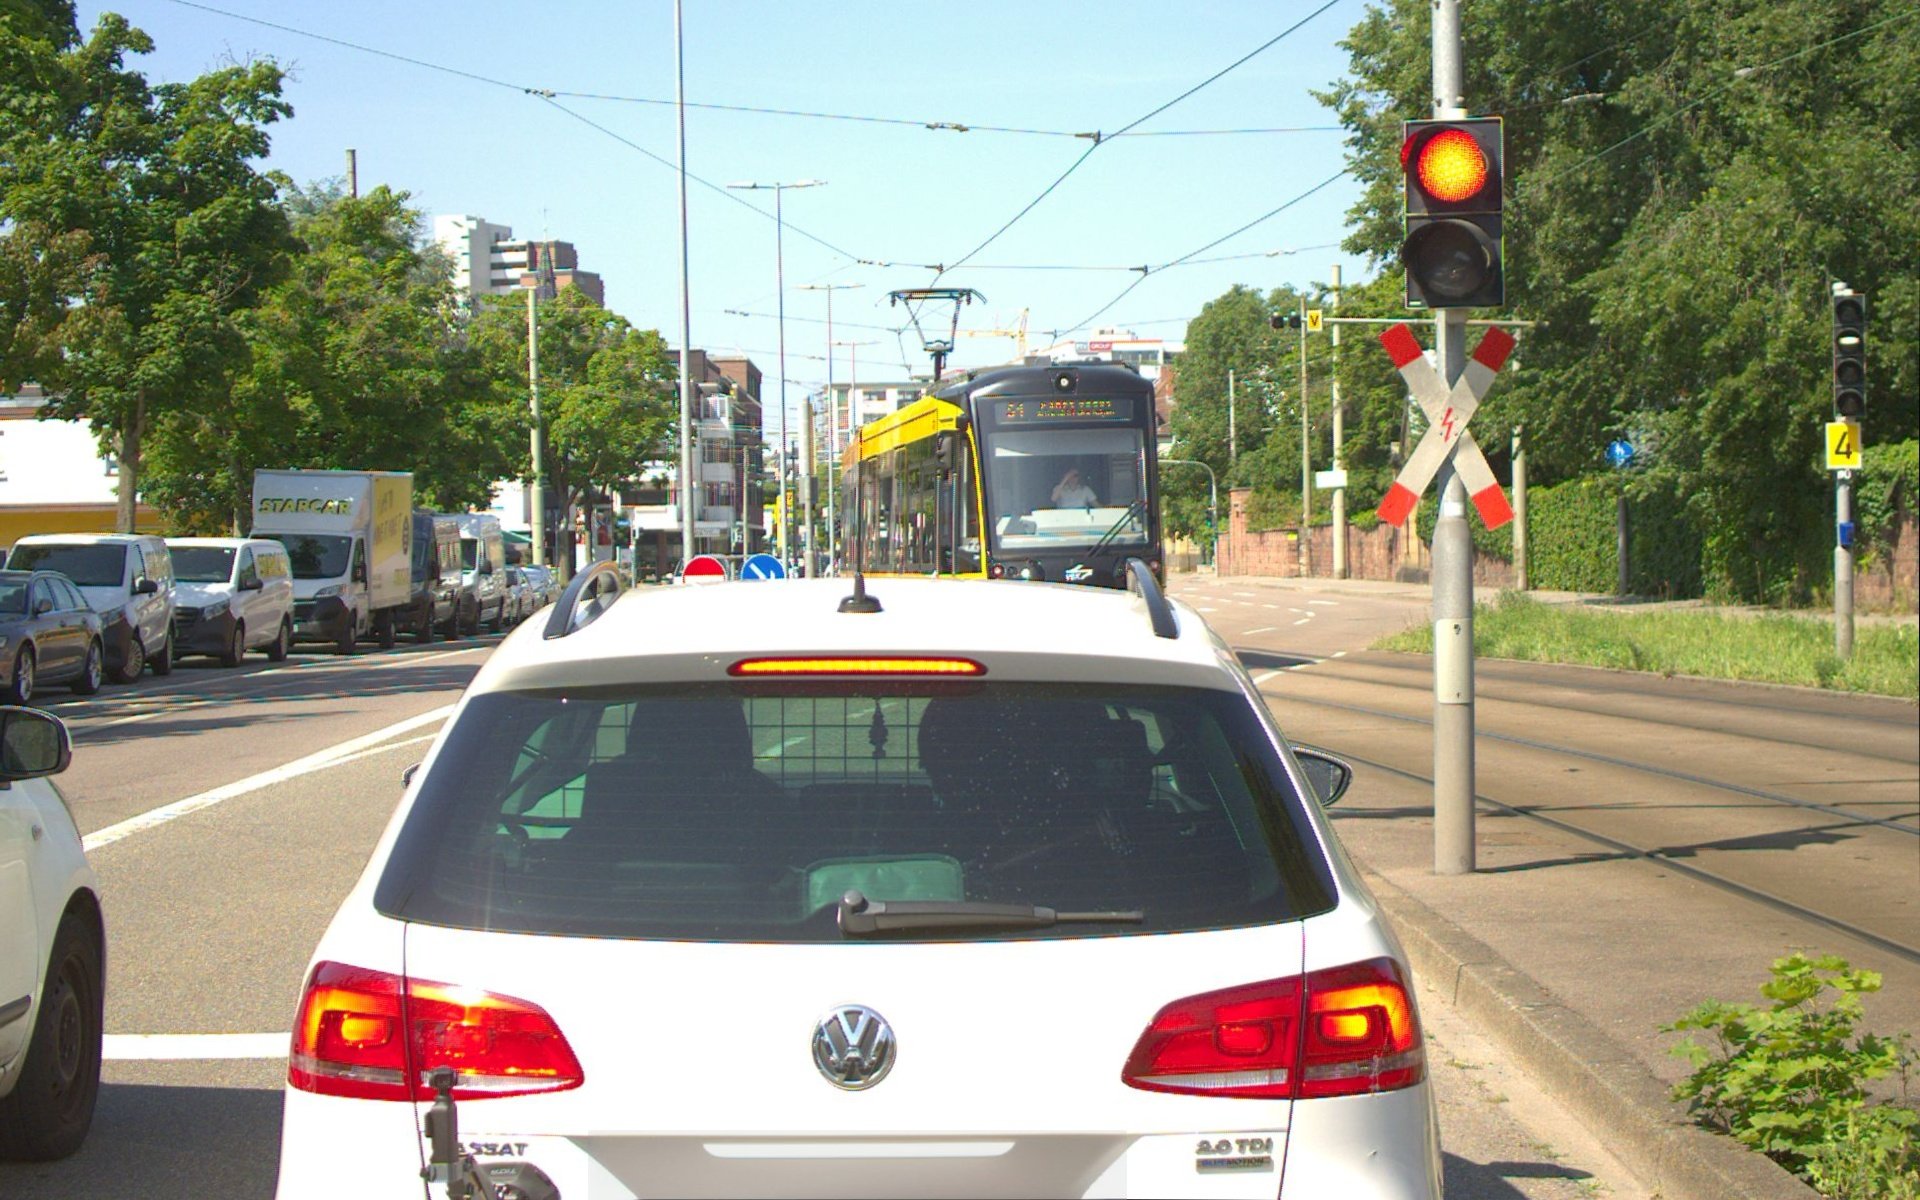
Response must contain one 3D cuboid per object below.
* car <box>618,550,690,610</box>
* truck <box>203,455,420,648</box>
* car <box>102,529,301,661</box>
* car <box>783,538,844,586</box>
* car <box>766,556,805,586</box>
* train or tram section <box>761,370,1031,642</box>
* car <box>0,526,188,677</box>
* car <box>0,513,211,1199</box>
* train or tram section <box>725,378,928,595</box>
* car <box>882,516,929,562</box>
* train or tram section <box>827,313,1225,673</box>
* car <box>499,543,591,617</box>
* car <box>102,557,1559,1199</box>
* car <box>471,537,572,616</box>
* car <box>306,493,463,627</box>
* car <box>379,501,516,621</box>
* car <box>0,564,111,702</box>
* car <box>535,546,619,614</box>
[{"bbox_3d":[-8.537,-0.582,96.071,1.676,1.548,3.580,-3,1,-1],"label":"car"},{"bbox_3d":[-11.272,-0.870,60.312,2.421,3.139,6.997,1,1,0],"label":"truck"},{"bbox_3d":[-11.375,-0.126,51.898,1.863,1.861,5.414,1,1,-1],"label":"car"},{"bbox_3d":[-4.790,-1.261,112.821,1.705,1.468,4.589,-2,1,1],"label":"car"},{"bbox_3d":[-9.046,-1.518,178.779,1.705,1.468,4.589,-1,1,1],"label":"car"},{"bbox_3d":[-1.271,-1.454,55.556,2.870,3.842,12.395,-1,1,-8],"label":"train or tram section"},{"bbox_3d":[-11.449,-0.031,45.310,1.863,1.861,5.075,1,1,-6],"label":"car"},{"bbox_3d":[-2.942,0.586,7.347,1.662,1.542,4.547,0,1,0],"label":"car"},{"bbox_3d":[-2.738,-2.127,66.939,2.870,3.842,10.541,-1,1,-8],"label":"train or tram section"},{"bbox_3d":[-3.040,-3.452,193.386,2.374,2.486,6.372,-2,1,1],"label":"car"},{"bbox_3d":[0.495,-1.264,43.371,2.870,3.842,12.395,-1,1,-9],"label":"train or tram section"},{"bbox_3d":[-11.030,-0.569,91.680,1.863,1.861,5.414,1,1,-1],"label":"car"},{"bbox_3d":[-0.170,0.671,6.208,1.762,1.425,4.000,-1,1,-1],"label":"car"},{"bbox_3d":[-10.777,-0.618,84.864,1.863,1.861,5.414,1,1,-1],"label":"car"},{"bbox_3d":[-11.365,-0.811,68.314,2.123,2.508,5.733,1,1,0],"label":"car"},{"bbox_3d":[-11.240,-0.881,75.750,2.123,2.508,5.733,1,1,0],"label":"car"},{"bbox_3d":[-11.016,0.325,38.776,1.863,1.411,4.280,1,1,-1],"label":"car"},{"bbox_3d":[-10.953,-0.604,98.597,1.863,1.861,5.414,1,1,-1],"label":"car"}]
